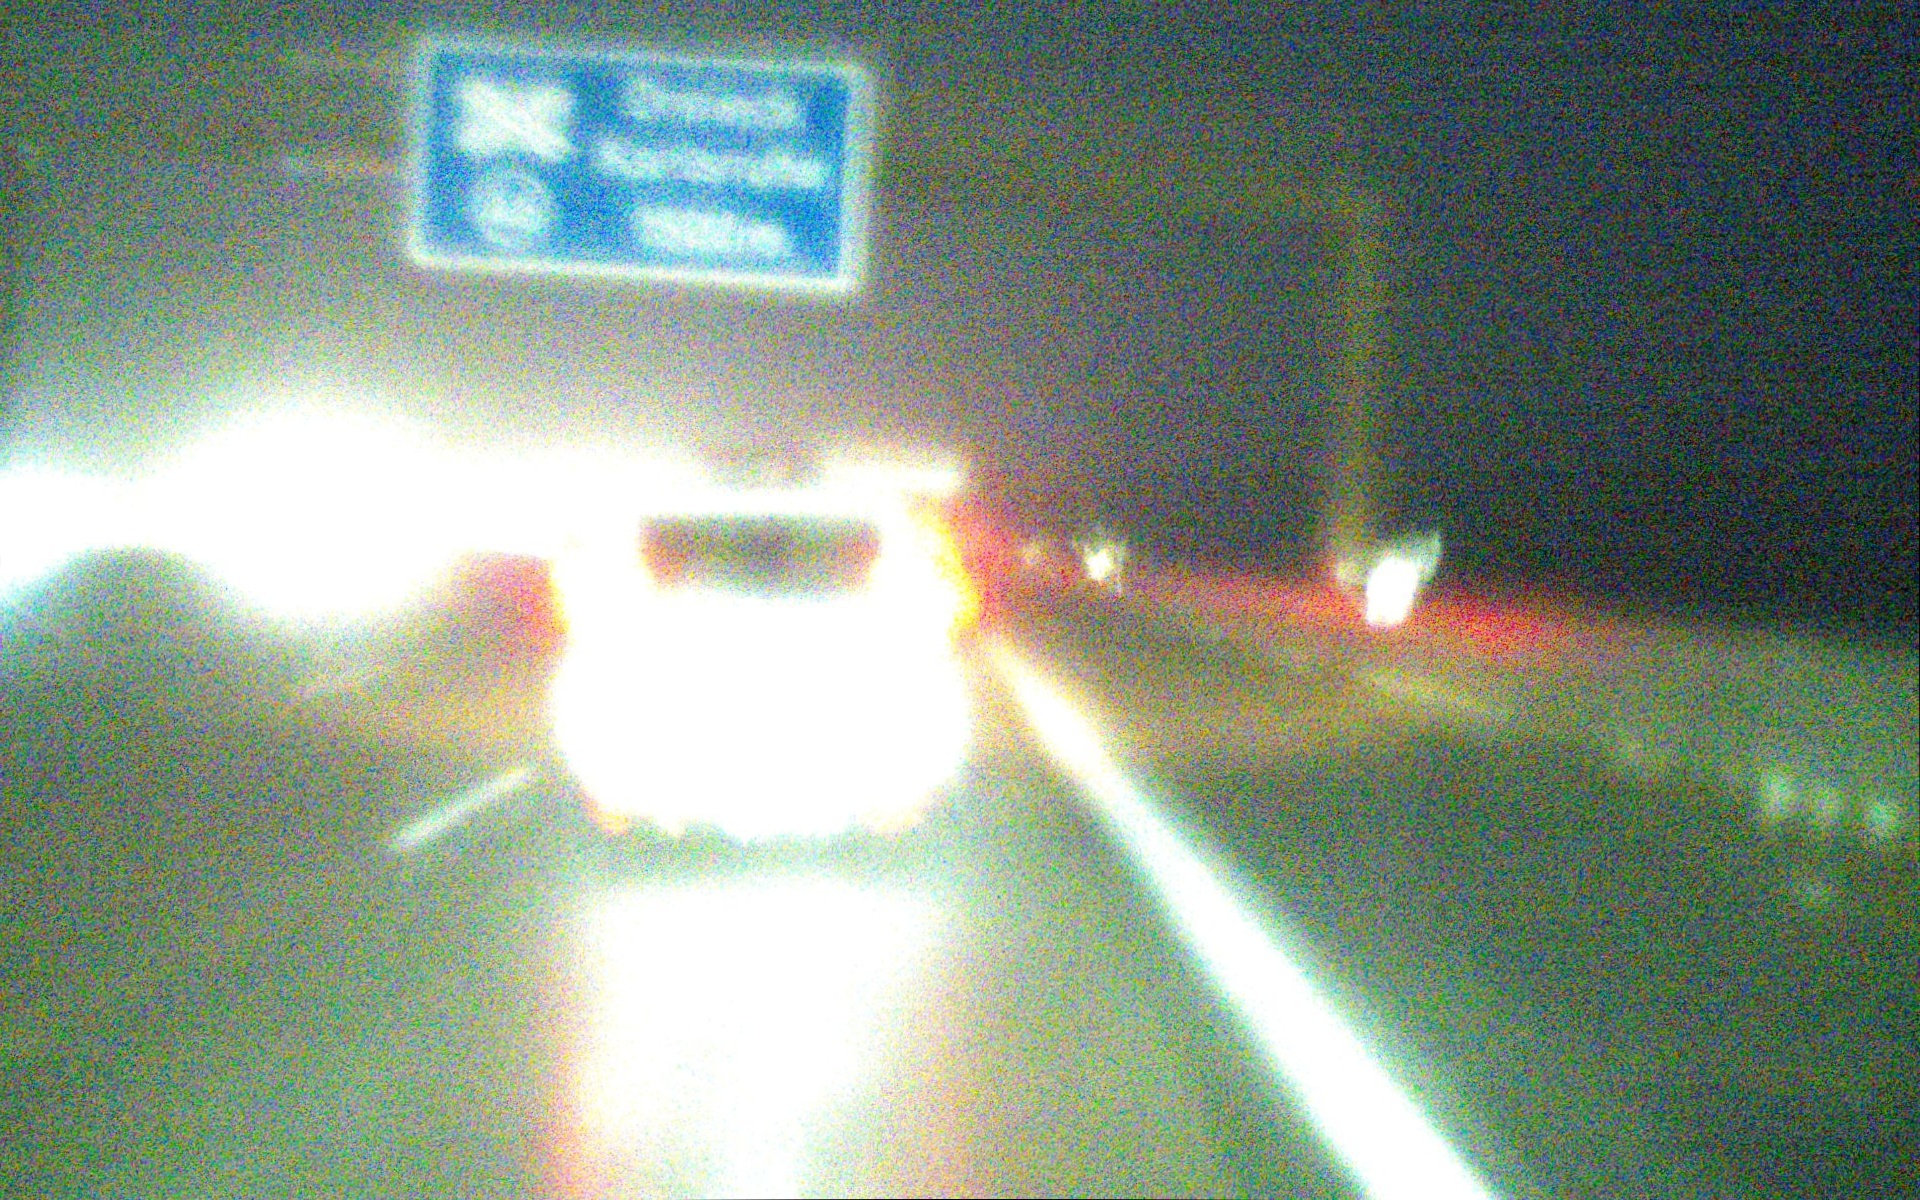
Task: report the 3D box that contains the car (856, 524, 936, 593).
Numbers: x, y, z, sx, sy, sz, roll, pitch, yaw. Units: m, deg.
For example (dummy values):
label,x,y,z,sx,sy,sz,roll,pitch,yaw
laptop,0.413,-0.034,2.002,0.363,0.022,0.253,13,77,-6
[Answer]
label,x,y,z,sx,sy,sz,roll,pitch,yaw
car,-1.702,-1.088,90.031,1.993,1.701,4.196,2,1,-2

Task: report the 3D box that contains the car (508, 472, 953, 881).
label,x,y,z,sx,sy,sz,roll,pitch,yaw
car,-1.054,0.307,18.030,1.953,1.786,5.124,2,1,0

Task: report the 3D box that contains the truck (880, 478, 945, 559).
label,x,y,z,sx,sy,sz,roll,pitch,yaw
truck,-3.074,-5.148,218.711,3.823,4.898,11.607,2,1,-1

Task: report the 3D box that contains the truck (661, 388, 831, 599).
label,x,y,z,sx,sy,sz,roll,pitch,yaw
truck,-5.957,-2.934,98.152,4.167,5.525,13.075,2,1,-1

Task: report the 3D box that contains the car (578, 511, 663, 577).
label,x,y,z,sx,sy,sz,roll,pitch,yaw
car,-10.100,-1.692,102.513,1.993,1.701,4.196,7,1,-1

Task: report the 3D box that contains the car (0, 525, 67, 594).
label,x,y,z,sx,sy,sz,roll,pitch,yaw
car,-22.056,-0.964,78.686,1.972,1.459,4.899,3,1,-1
